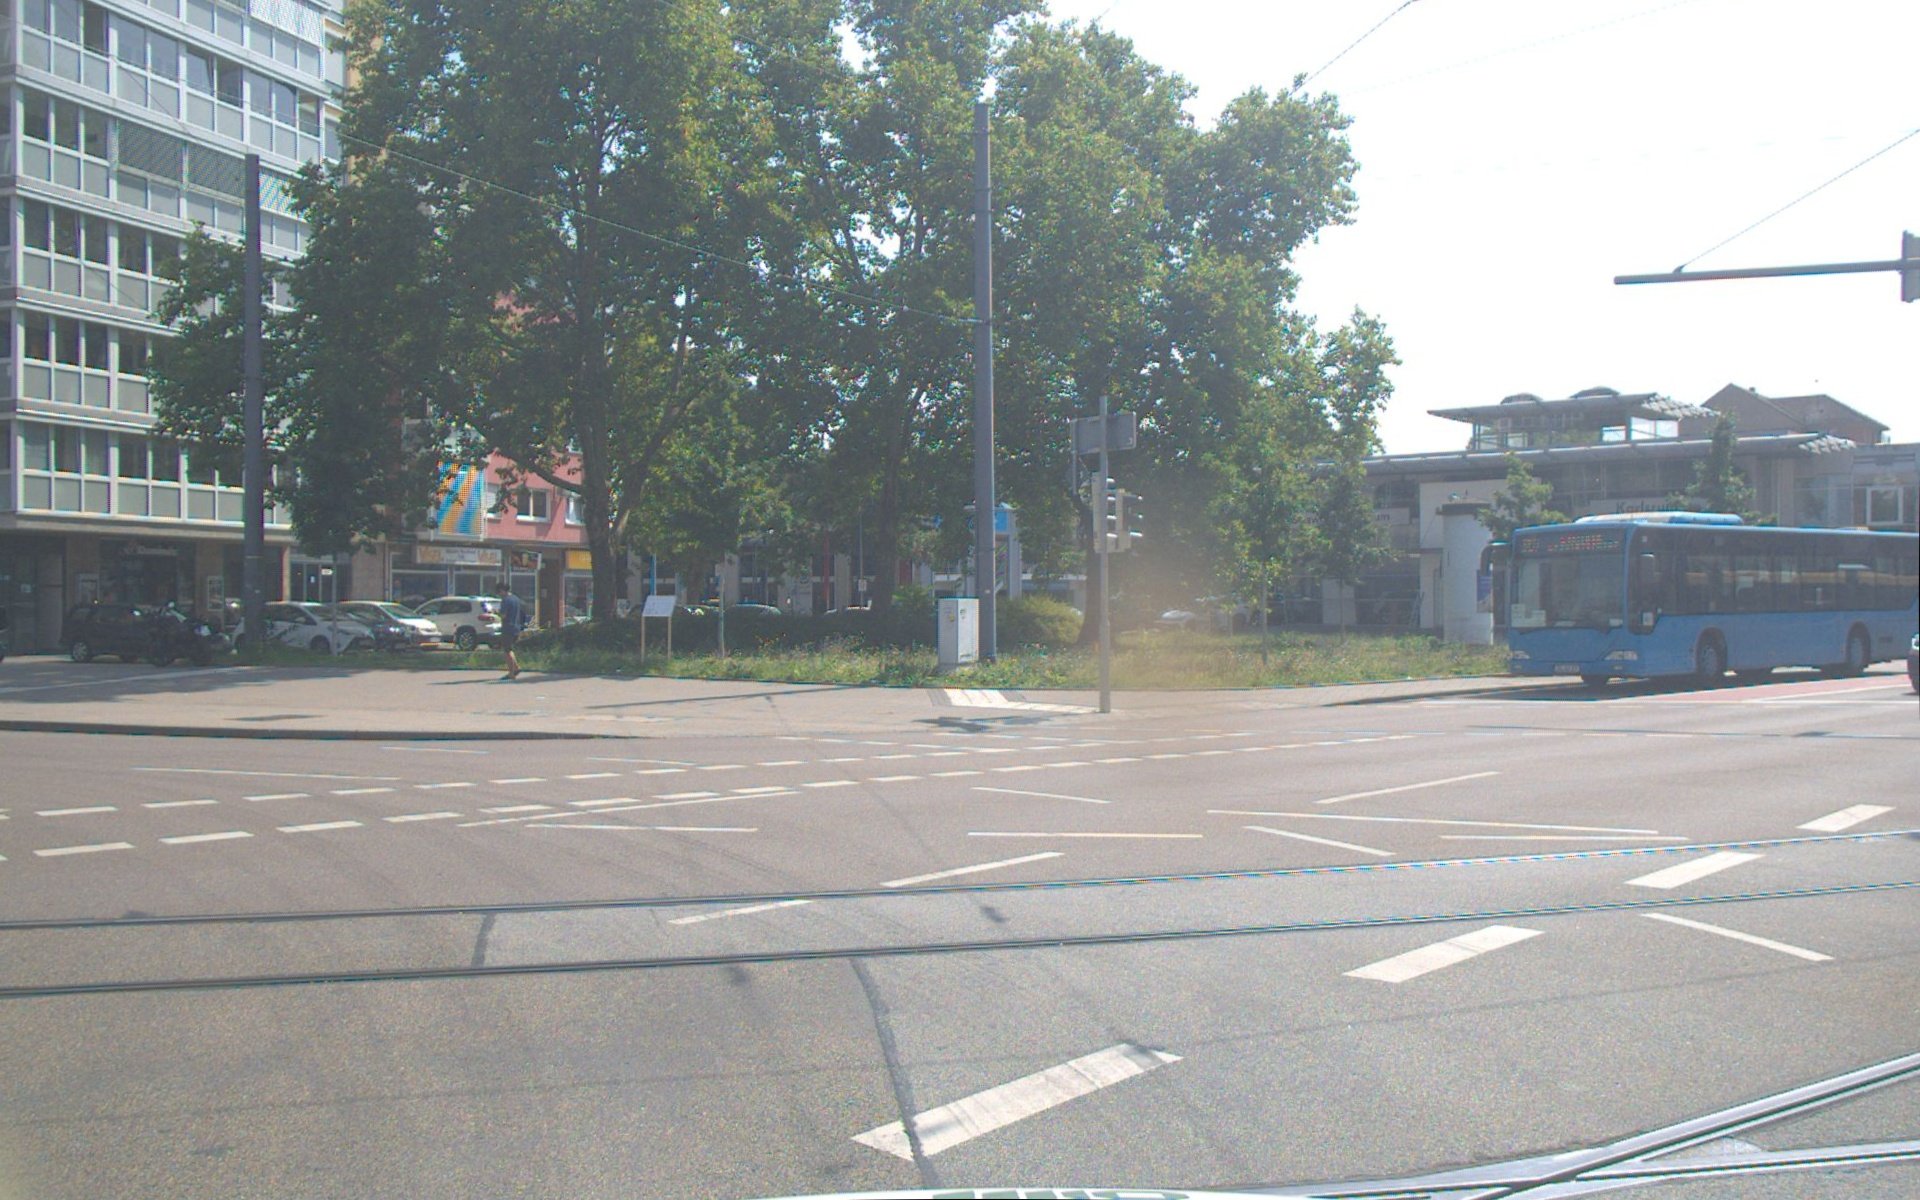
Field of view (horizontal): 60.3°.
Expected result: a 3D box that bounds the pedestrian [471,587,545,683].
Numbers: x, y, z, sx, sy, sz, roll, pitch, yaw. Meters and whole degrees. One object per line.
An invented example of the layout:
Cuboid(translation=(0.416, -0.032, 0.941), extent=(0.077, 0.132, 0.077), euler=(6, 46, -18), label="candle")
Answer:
Cuboid(translation=(-7.860, 0.605, 28.775), extent=(0.926, 1.637, 0.794), euler=(-1, 0, 16), label="pedestrian")

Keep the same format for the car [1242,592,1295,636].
Cuboid(translation=(15.490, 0.666, 82.832), extent=(2.276, 2.049, 6.815), euler=(2, 1, 13), label="car")

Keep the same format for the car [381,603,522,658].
Cuboid(translation=(-16.133, 0.946, 52.502), extent=(3.974, 1.695, 1.792), euler=(0, 0, 17), label="car")

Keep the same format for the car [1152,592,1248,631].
Cuboid(translation=(11.243, 0.505, 77.590), extent=(4.185, 1.784, 1.705), euler=(0, 0, -21), label="car")

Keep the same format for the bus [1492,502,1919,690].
Cuboid(translation=(15.040, -0.072, 32.188), extent=(11.955, 3.118, 2.698), euler=(0, 0, -38), label="bus")

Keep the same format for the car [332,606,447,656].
Cuboid(translation=(-17.299, 0.934, 50.180), extent=(3.023, 1.454, 1.404), euler=(0, 0, 17), label="car")

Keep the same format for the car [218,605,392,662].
Cuboid(translation=(-17.938, 0.905, 45.346), extent=(4.143, 1.496, 1.907), euler=(0, 0, 17), label="car")

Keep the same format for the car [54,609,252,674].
Cuboid(translation=(-19.633, 0.993, 40.284), extent=(4.143, 1.496, 1.907), euler=(0, 0, 17), label="car")

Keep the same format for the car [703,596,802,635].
Cuboid(translation=(-9.241, 0.702, 73.634), extent=(3.974, 1.695, 1.792), euler=(0, 0, 17), label="car")

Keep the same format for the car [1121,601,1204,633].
Cuboid(translation=(9.998, 0.814, 81.626), extent=(3.964, 1.534, 1.970), euler=(0, 0, -41), label="car")

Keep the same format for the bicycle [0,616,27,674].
Cuboid(translation=(-22.171, 1.005, 37.110), extent=(2.376, 1.260, 0.795), euler=(-1, 0, 19), label="bicycle")

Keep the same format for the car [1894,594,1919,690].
Cuboid(translation=(16.662, 0.642, 26.633), extent=(3.735, 1.497, 1.607), euler=(0, 0, -39), label="car")

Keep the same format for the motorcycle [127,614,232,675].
Cuboid(translation=(-15.448, 0.873, 32.740), extent=(2.067, 1.156, 0.910), euler=(-1, 0, 32), label="motorcycle")
